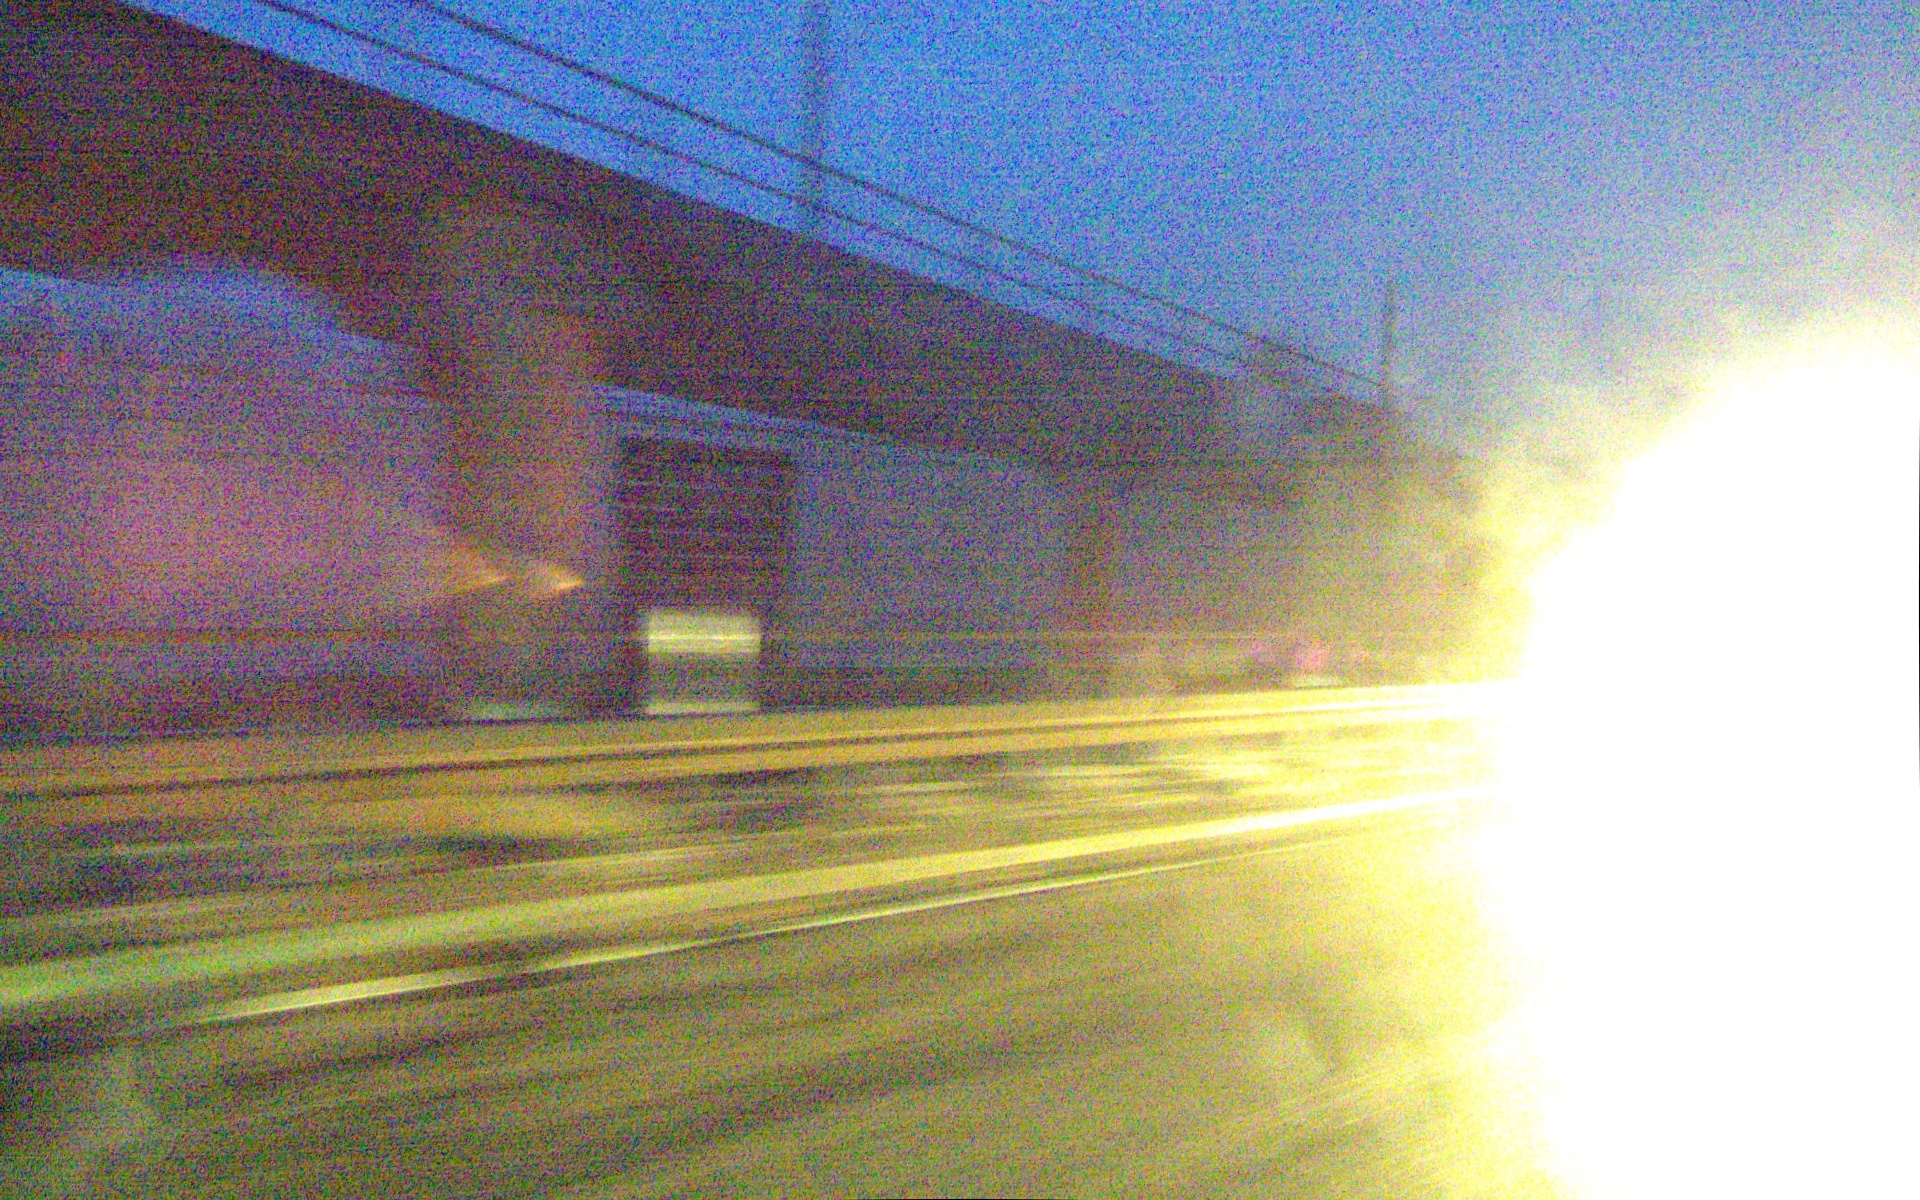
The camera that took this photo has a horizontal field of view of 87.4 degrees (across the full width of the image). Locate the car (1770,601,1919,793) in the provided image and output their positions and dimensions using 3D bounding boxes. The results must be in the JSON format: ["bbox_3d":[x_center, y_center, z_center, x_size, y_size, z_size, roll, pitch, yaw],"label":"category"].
[{"bbox_3d":[9.761,0.826,9.587,4.181,1.565,1.852,0,2,-32],"label":"car"}]
